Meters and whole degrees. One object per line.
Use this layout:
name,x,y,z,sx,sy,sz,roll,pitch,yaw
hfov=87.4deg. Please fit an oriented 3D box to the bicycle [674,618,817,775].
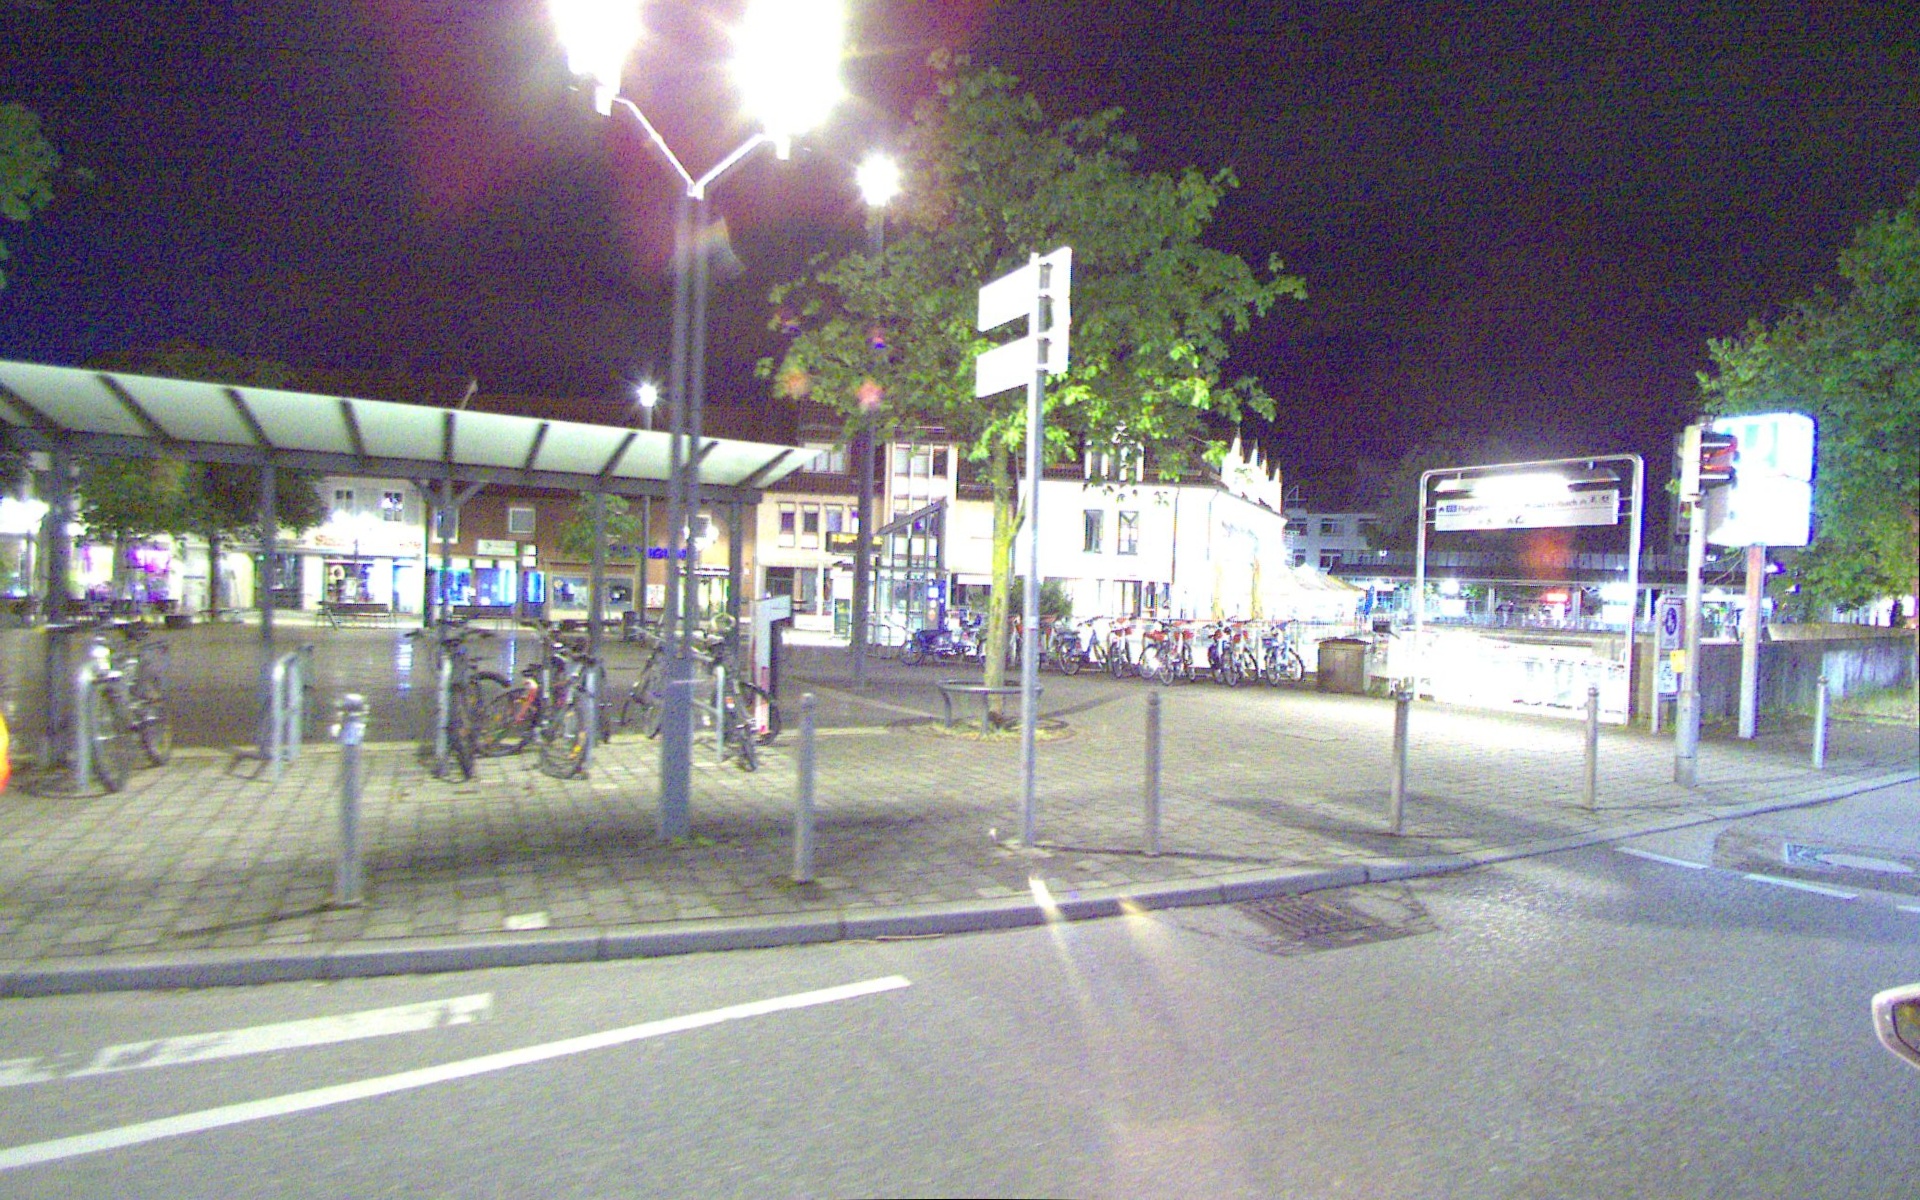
bicycle,-1.824,0.746,8.357,0.662,1.120,1.608,2,0,-30

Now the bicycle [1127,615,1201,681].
bicycle,3.906,0.896,19.181,0.600,1.181,1.737,0,0,42

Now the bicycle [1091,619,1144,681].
bicycle,3.048,0.931,19.319,0.597,1.084,1.746,0,0,23

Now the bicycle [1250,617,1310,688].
bicycle,5.797,0.910,18.134,0.747,1.177,1.745,0,0,27

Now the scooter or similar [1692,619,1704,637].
scooter or similar,53.285,2.011,72.518,0.423,1.302,1.146,0,0,25

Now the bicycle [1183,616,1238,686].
bicycle,4.606,0.902,18.378,0.597,1.181,1.745,0,0,27

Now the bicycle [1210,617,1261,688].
bicycle,4.947,0.908,17.989,0.535,1.170,1.745,0,0,27

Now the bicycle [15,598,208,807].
bicycle,-5.576,0.595,6.707,0.662,1.179,1.760,1,0,-30

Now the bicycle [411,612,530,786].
bicycle,-3.725,0.684,7.585,0.662,1.120,1.608,2,0,-30

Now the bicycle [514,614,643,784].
bicycle,-3.005,0.707,7.822,0.662,1.120,1.608,2,0,-30

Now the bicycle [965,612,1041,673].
bicycle,0.899,0.841,20.539,0.600,1.181,1.738,0,0,41

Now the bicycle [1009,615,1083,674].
bicycle,1.768,0.883,20.452,0.600,1.115,1.738,0,0,41

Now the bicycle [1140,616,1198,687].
bicycle,3.782,0.903,18.089,0.597,1.181,1.745,0,0,27

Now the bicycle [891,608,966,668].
bicycle,-0.654,0.791,21.529,0.600,1.235,1.738,0,0,41

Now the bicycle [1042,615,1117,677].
bicycle,2.372,0.876,19.807,0.600,1.140,1.738,0,0,41
